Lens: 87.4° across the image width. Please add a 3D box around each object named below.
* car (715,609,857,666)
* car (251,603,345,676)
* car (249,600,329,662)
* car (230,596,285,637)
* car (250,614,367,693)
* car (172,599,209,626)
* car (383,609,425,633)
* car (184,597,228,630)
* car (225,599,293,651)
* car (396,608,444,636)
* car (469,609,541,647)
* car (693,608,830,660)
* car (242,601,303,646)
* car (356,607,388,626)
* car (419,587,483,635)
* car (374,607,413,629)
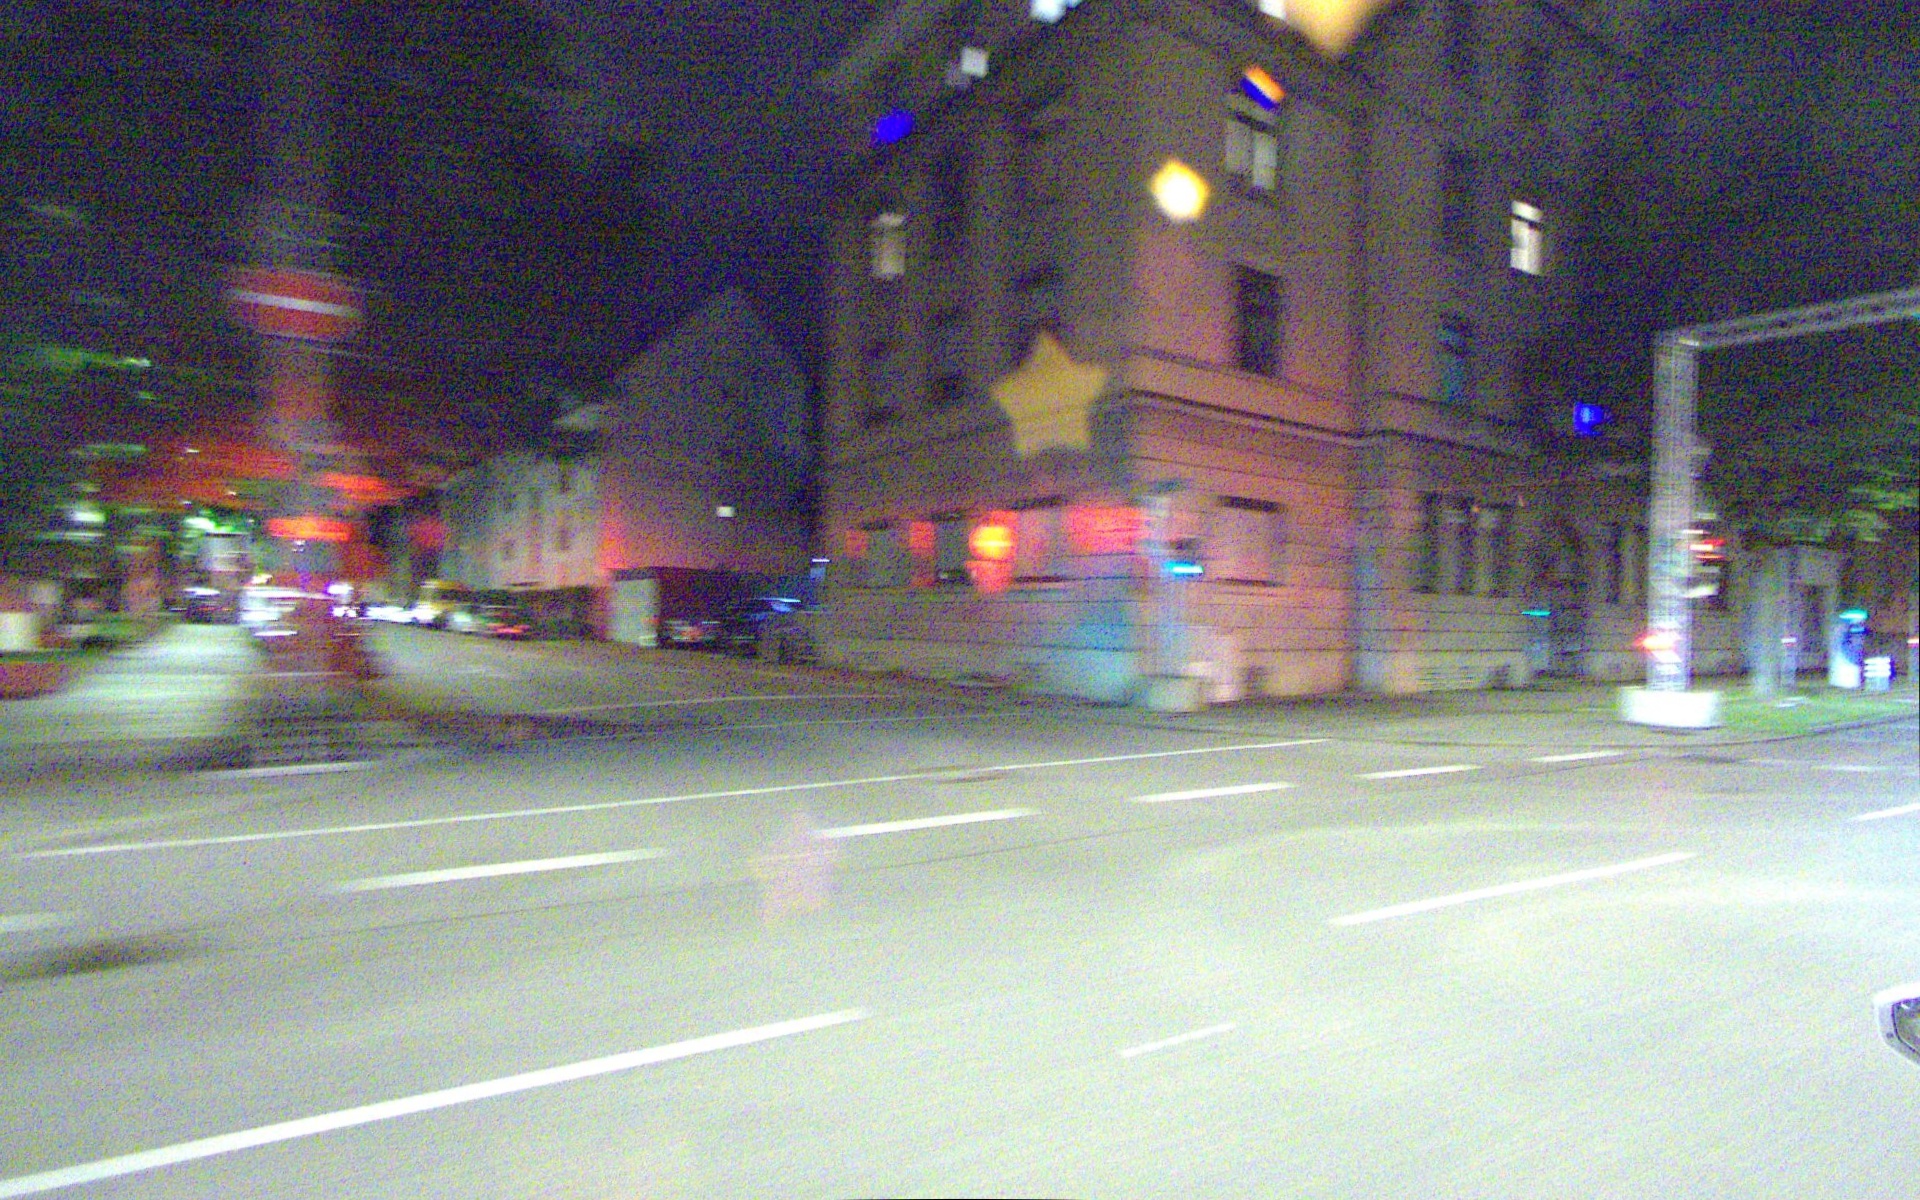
[{"bbox_3d":[-5.455,1.152,31.572,3.957,1.661,1.982,1,-1,-33],"label":"car"},{"bbox_3d":[-17.811,1.025,26.946,1.816,1.698,4.345,6,-4,-35],"label":"car"},{"bbox_3d":[-21.550,0.962,32.198,1.876,1.730,4.345,7,-4,-35],"label":"car"},{"bbox_3d":[-33.189,0.764,47.399,1.877,1.698,4.344,7,-4,-36],"label":"car"},{"bbox_3d":[-14.029,1.097,21.534,1.816,1.411,4.345,7,-4,-35],"label":"car"},{"bbox_3d":[-51.872,0.833,67.720,1.877,1.699,4.342,3,-2,-38],"label":"car"},{"bbox_3d":[-37.572,1.413,67.806,1.905,1.534,5.054,1,-2,-35],"label":"car"},{"bbox_3d":[-42.687,0.745,56.853,1.877,1.699,4.342,4,-2,-38],"label":"car"},{"bbox_3d":[-26.300,0.918,37.631,1.877,1.698,4.344,7,-4,-36],"label":"car"},{"bbox_3d":[-31.808,1.290,59.102,1.905,1.534,5.054,1,-2,-35],"label":"car"},{"bbox_3d":[-19.625,1.211,43.244,1.905,1.534,5.054,1,-2,-35],"label":"car"},{"bbox_3d":[-6.677,1.129,33.933,4.141,1.661,1.982,1,-1,-33],"label":"car"},{"bbox_3d":[-29.421,1.002,42.947,1.877,1.698,4.344,7,-4,-36],"label":"car"},{"bbox_3d":[-49.331,1.389,84.183,1.905,1.534,5.054,1,-2,-35],"label":"car"},{"bbox_3d":[-26.222,0.600,51.623,2.148,2.364,5.669,1,-2,-35],"label":"car"},{"bbox_3d":[-40.758,1.289,72.230,1.905,1.534,5.054,1,-2,-35],"label":"car"}]
